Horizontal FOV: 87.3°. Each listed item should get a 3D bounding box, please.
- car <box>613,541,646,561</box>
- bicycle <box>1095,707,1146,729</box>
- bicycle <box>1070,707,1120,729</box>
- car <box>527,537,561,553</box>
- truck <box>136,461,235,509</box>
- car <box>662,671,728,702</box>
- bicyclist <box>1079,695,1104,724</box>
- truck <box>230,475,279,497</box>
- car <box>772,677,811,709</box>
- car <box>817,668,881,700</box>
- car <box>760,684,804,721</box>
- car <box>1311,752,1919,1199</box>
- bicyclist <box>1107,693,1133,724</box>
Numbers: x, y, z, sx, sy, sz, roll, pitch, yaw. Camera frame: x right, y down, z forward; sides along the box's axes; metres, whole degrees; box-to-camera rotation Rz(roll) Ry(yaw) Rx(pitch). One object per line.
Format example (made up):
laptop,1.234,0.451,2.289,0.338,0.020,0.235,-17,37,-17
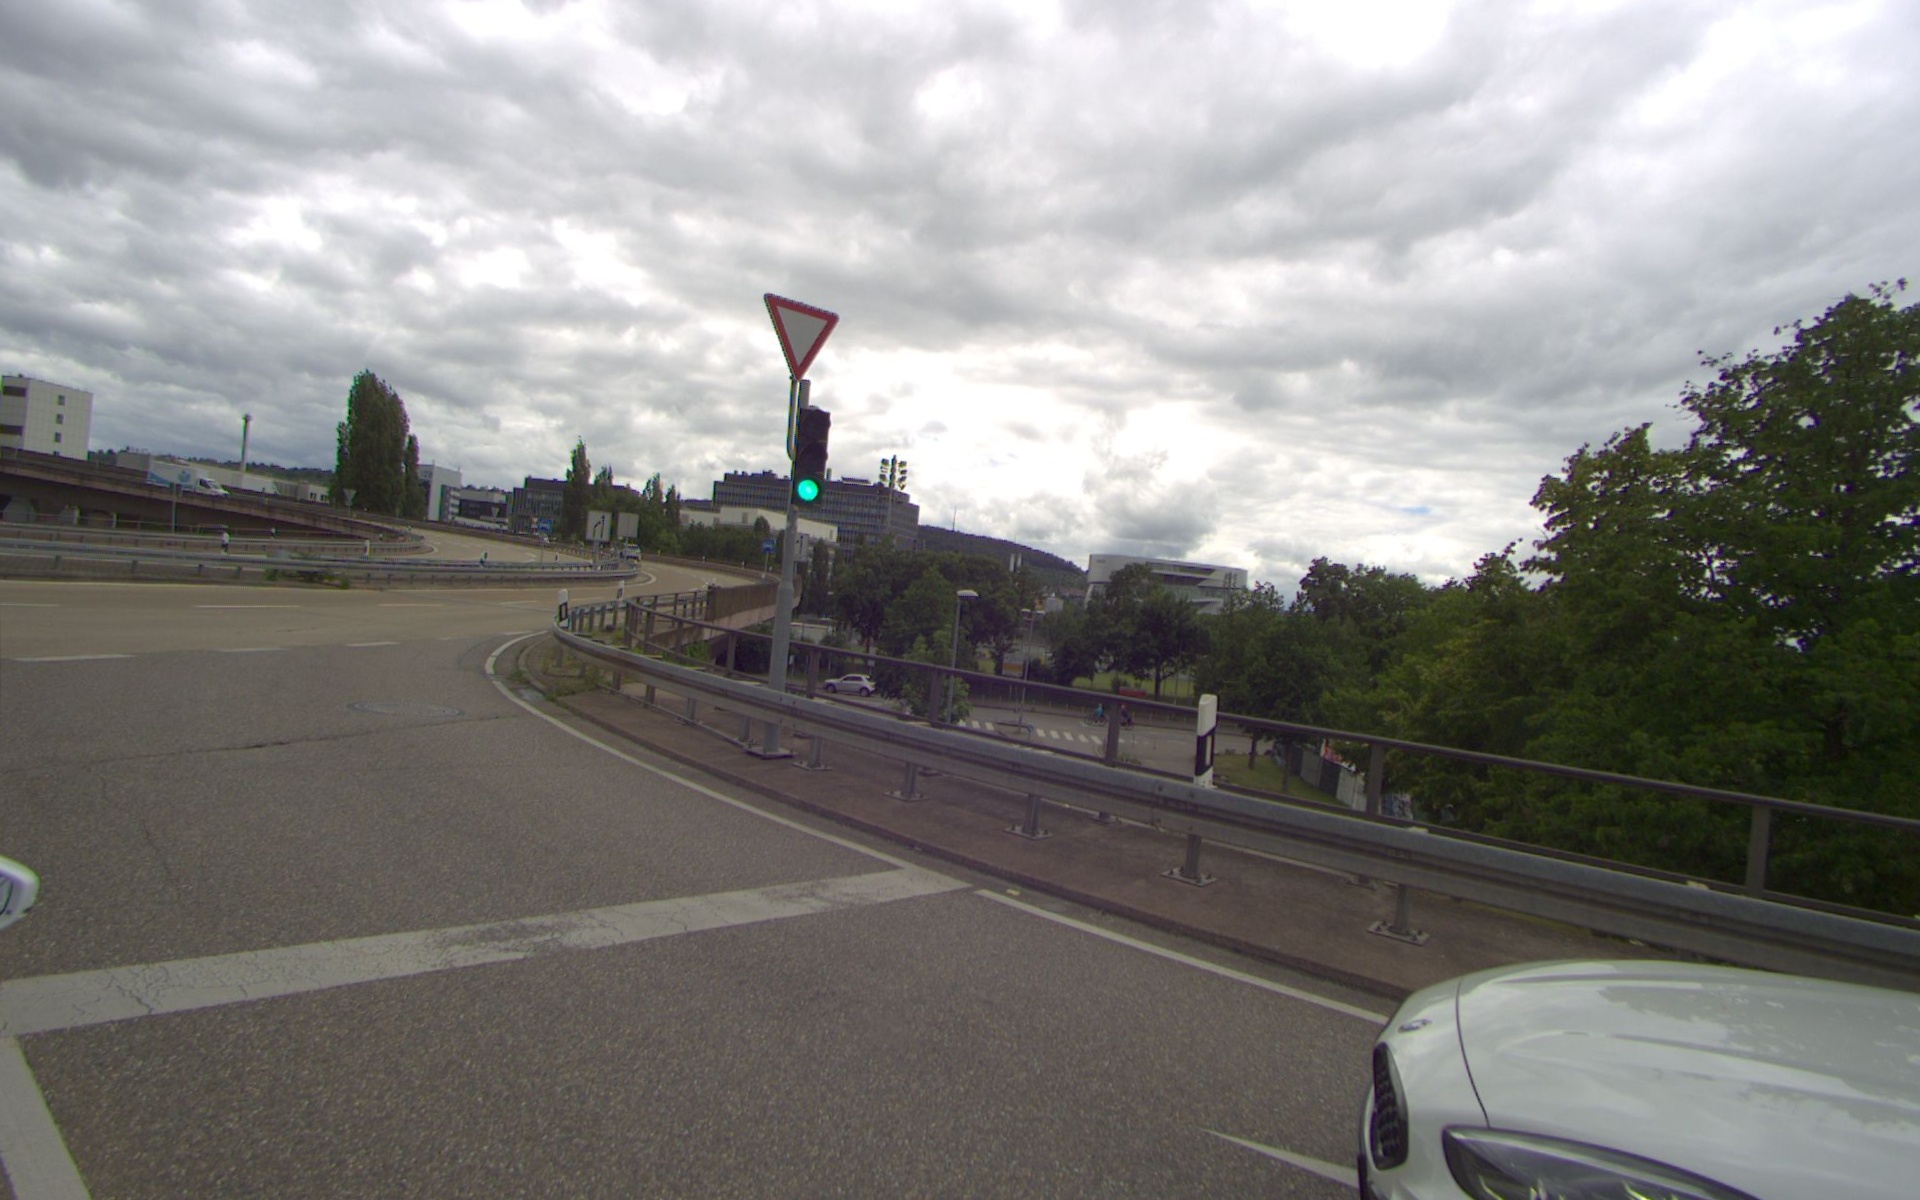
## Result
car,-33.867,-5.005,103.013,1.716,1.758,4.509,7,-1,-37
bicycle,12.896,9.504,80.826,3.792,1.189,1.091,10,-6,-11
bicycle,11.019,9.625,82.008,3.792,1.189,1.091,10,-6,-11
car,-47.869,-6.334,115.715,4.006,1.417,1.724,6,-1,38
truck,-77.172,-11.432,100.364,7.233,3.306,2.325,8,-2,-13
car,-17.200,5.615,65.407,3.796,1.371,1.825,8,0,-7
bicyclist,10.686,8.915,81.945,1.542,2.114,1.091,9,-6,-10
truck,-106.736,-17.219,152.272,1.963,2.188,5.645,6,-3,22
car,-11.009,6.076,65.936,1.794,1.552,3.999,7,0,-2
car,-9.368,7.094,84.829,4.769,1.882,2.020,9,-3,8
car,-10.528,6.062,59.785,1.794,1.552,4.194,7,0,-2
car,2.875,1.271,1.638,4.188,1.306,1.811,6,-3,27
bicyclist,12.843,8.725,80.836,1.556,2.272,1.091,9,-6,-11
